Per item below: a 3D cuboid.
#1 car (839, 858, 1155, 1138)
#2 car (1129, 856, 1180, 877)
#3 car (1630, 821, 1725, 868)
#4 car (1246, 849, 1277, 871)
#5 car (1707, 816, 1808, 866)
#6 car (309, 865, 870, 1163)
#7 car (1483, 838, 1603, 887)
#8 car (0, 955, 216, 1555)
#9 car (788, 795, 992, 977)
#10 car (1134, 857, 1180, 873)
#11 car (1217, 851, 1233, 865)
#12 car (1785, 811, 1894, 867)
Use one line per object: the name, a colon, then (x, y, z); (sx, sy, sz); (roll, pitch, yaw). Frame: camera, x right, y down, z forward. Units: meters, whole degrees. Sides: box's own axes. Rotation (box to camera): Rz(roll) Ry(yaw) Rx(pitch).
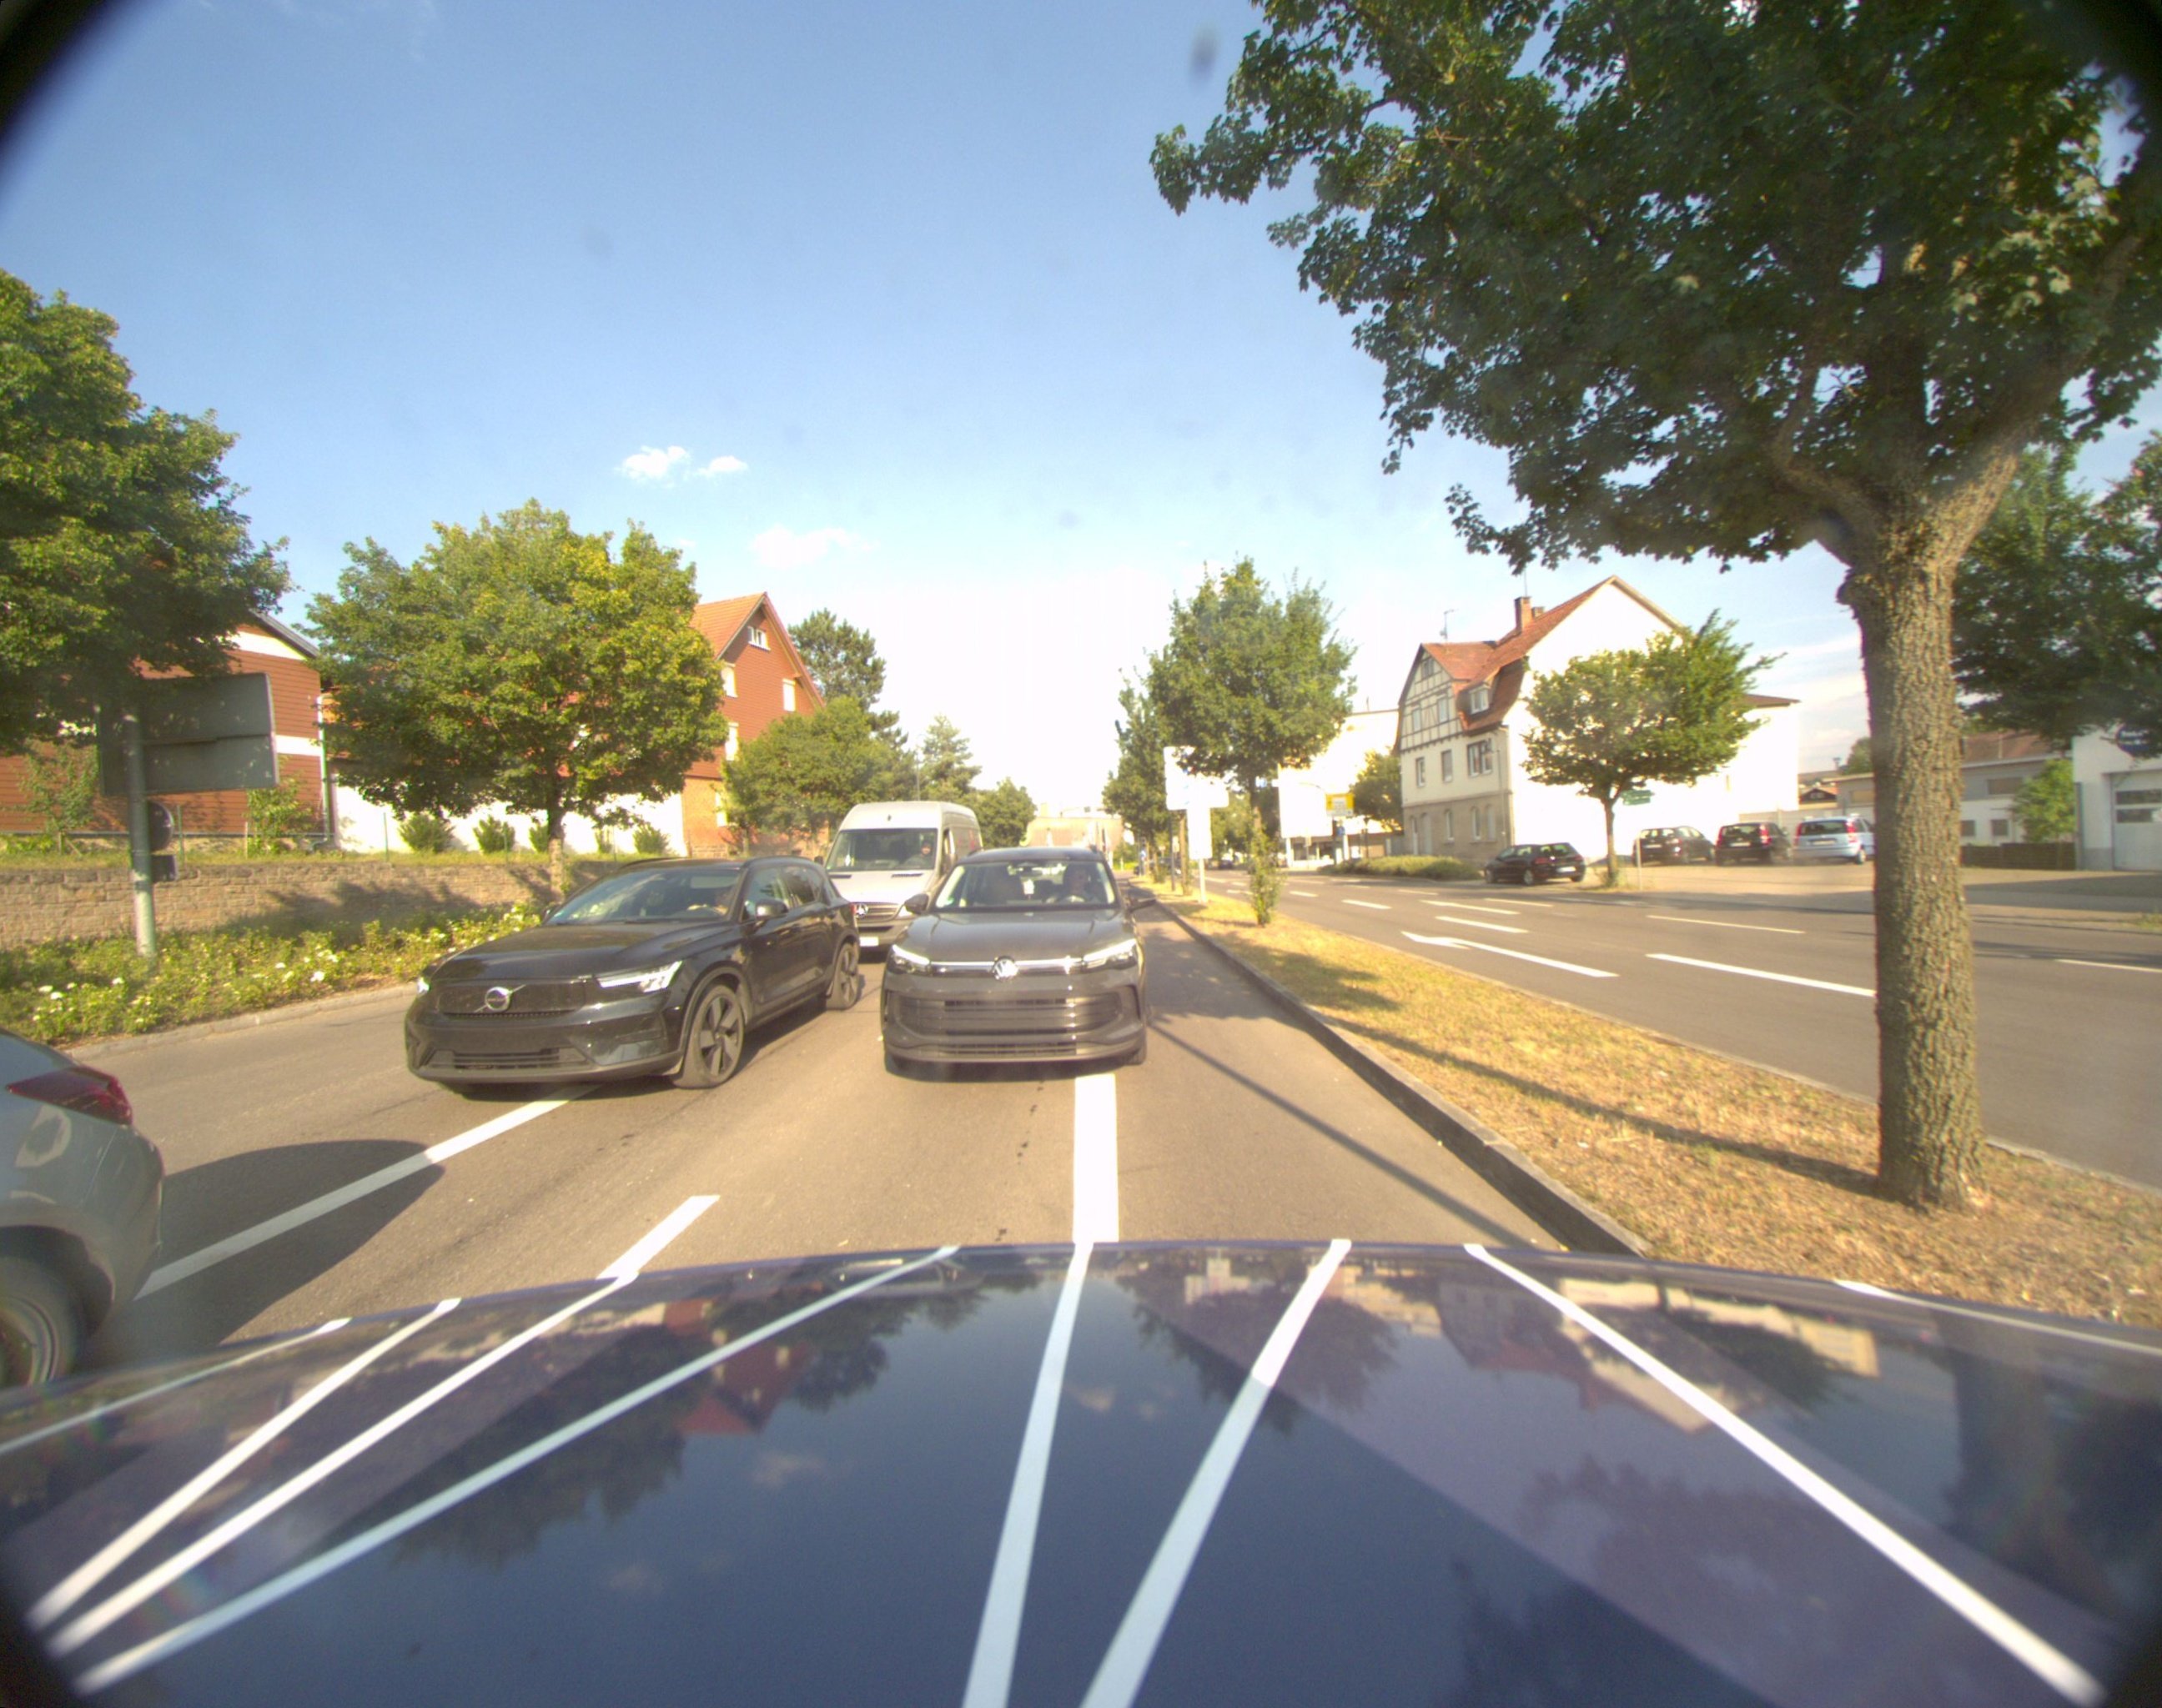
car: (-0.439, 0.868, 6.644); (1.845, 1.600, 4.318); (-1, 0, 2)
car: (6.498, 1.053, 67.246); (4.003, 1.664, 1.784); (-2, 1, -18)
car: (23.394, -0.394, 29.777); (3.830, 1.493, 1.816); (-5, 0, -35)
car: (14.420, 0.463, 60.873); (1.781, 1.683, 4.001); (-2, 0, 4)
car: (24.672, -0.491, 27.680); (3.830, 1.493, 1.816); (-5, 0, -35)
car: (-3.387, 0.942, 6.456); (1.845, 1.600, 4.318); (-1, 0, 2)
car: (16.047, 0.277, 26.643); (1.818, 1.442, 3.825); (-5, 0, 1)
car: (-3.601, 1.056, 0.208); (1.766, 1.445, 4.318); (-1, 0, 0)
car: (-3.057, 0.447, 13.788); (1.992, 2.554, 6.046); (-1, 0, 2)
car: (7.940, 1.144, 79.635); (4.375, 1.460, 1.781); (-2, 0, -12)
car: (18.981, 0.490, 99.911); (1.780, 1.683, 4.004); (-2, 0, 14)
car: (24.894, -0.505, 24.914); (3.830, 1.493, 1.816); (-5, 0, -35)
